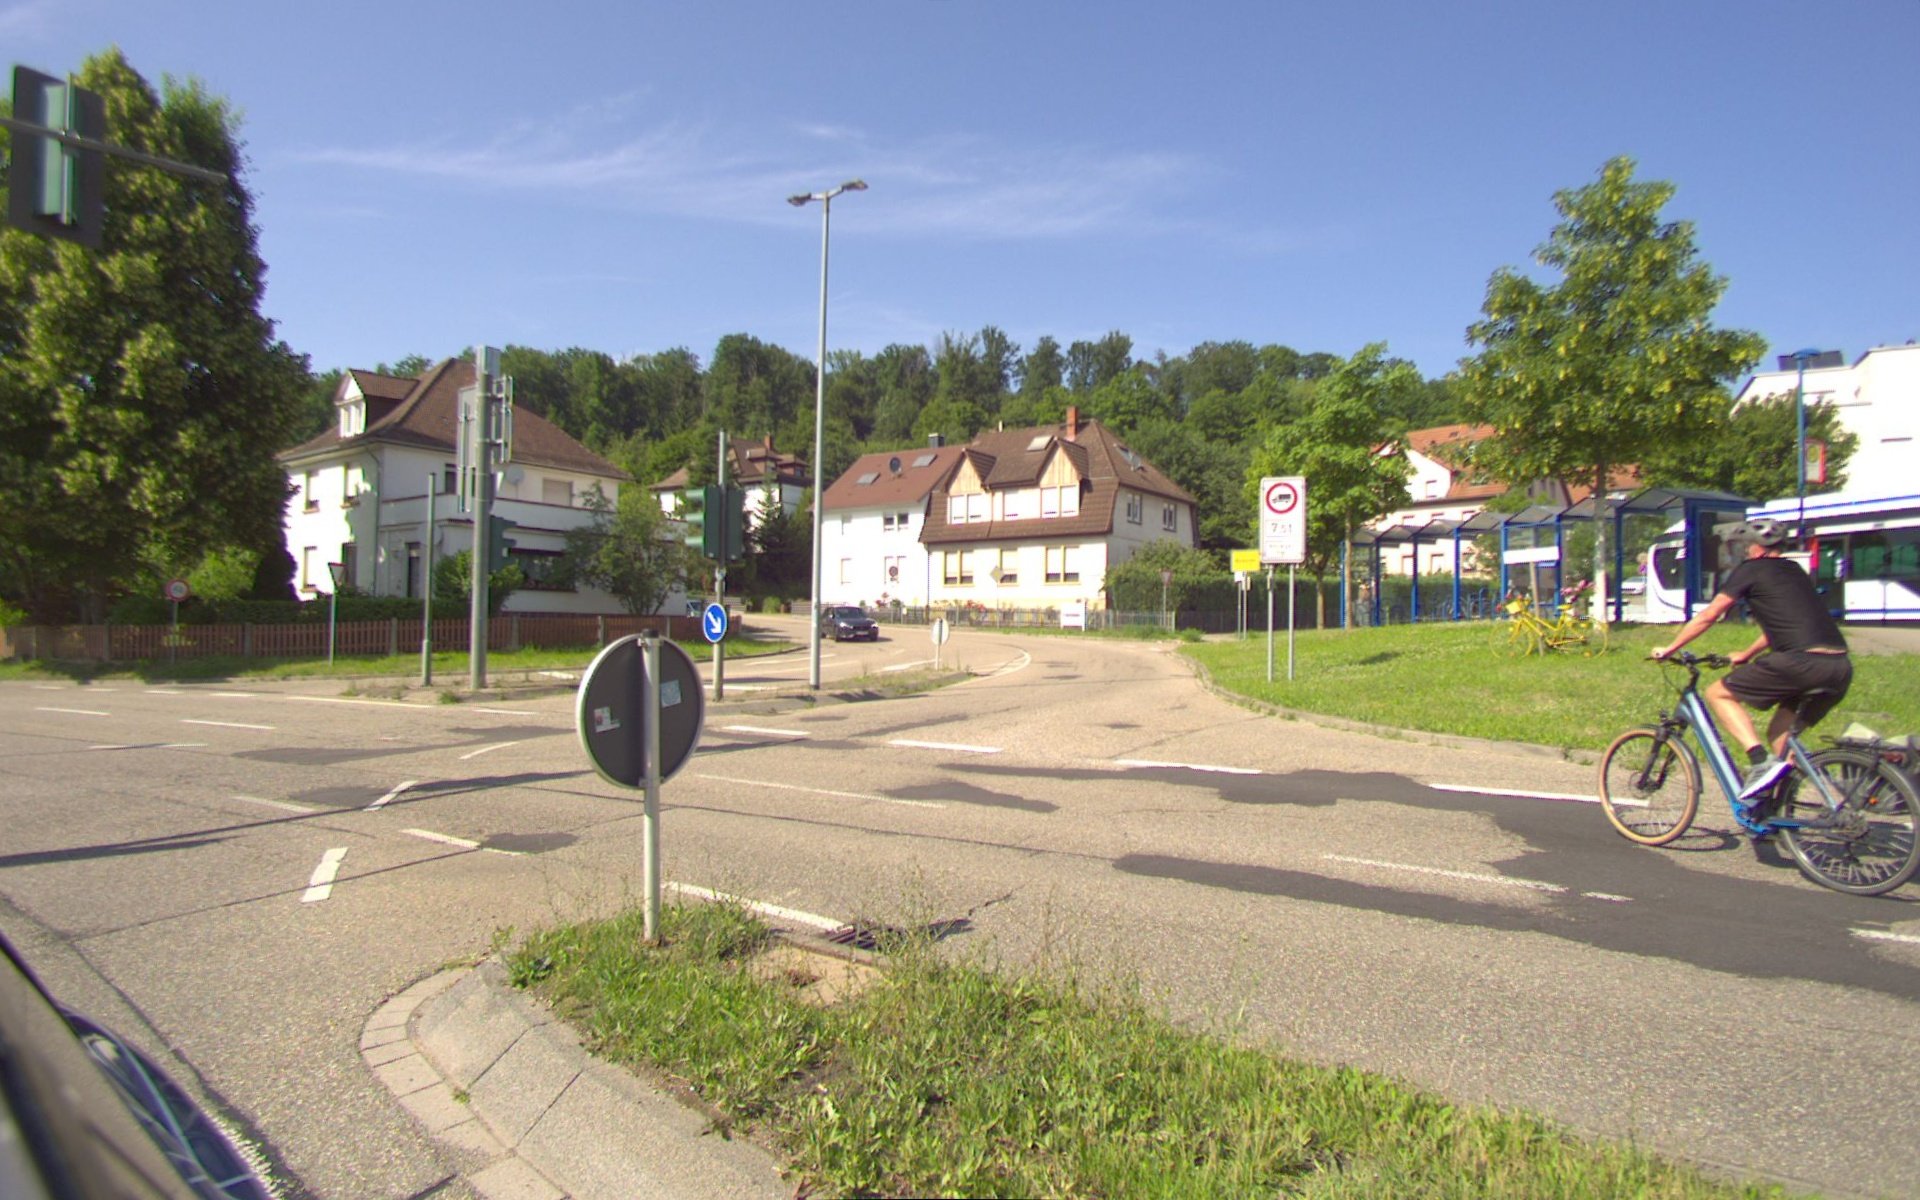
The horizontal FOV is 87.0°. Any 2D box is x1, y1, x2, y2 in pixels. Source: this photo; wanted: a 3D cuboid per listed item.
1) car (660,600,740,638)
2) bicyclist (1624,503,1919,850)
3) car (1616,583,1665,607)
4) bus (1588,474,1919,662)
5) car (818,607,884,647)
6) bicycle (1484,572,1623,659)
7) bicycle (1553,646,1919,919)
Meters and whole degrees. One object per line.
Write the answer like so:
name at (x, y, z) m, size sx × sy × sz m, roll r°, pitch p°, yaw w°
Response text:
car at (-12.354, 0.923, 47.974) m, size 1.912 × 1.649 × 4.002 m, roll -2°, pitch -1°, yaw -45°
bicyclist at (4.470, 0.378, 5.587) m, size 0.793 × 1.704 × 0.996 m, roll -2°, pitch -1°, yaw -13°
car at (54.854, -0.405, 81.589) m, size 3.934 × 1.822 × 2.005 m, roll -1°, pitch -1°, yaw -36°
bus at (20.127, -0.658, 22.083) m, size 2.822 × 3.742 × 12.251 m, roll -2°, pitch -1°, yaw -14°
car at (-4.611, 1.108, 42.319) m, size 1.966 × 1.519 × 4.012 m, roll -2°, pitch -1°, yaw -17°
bicycle at (9.618, 0.267, 16.442) m, size 0.611 × 1.265 × 1.758 m, roll -5°, pitch 0°, yaw -44°
bicycle at (4.469, 0.882, 5.689) m, size 0.723 × 1.171 × 2.005 m, roll -2°, pitch -1°, yaw -13°
